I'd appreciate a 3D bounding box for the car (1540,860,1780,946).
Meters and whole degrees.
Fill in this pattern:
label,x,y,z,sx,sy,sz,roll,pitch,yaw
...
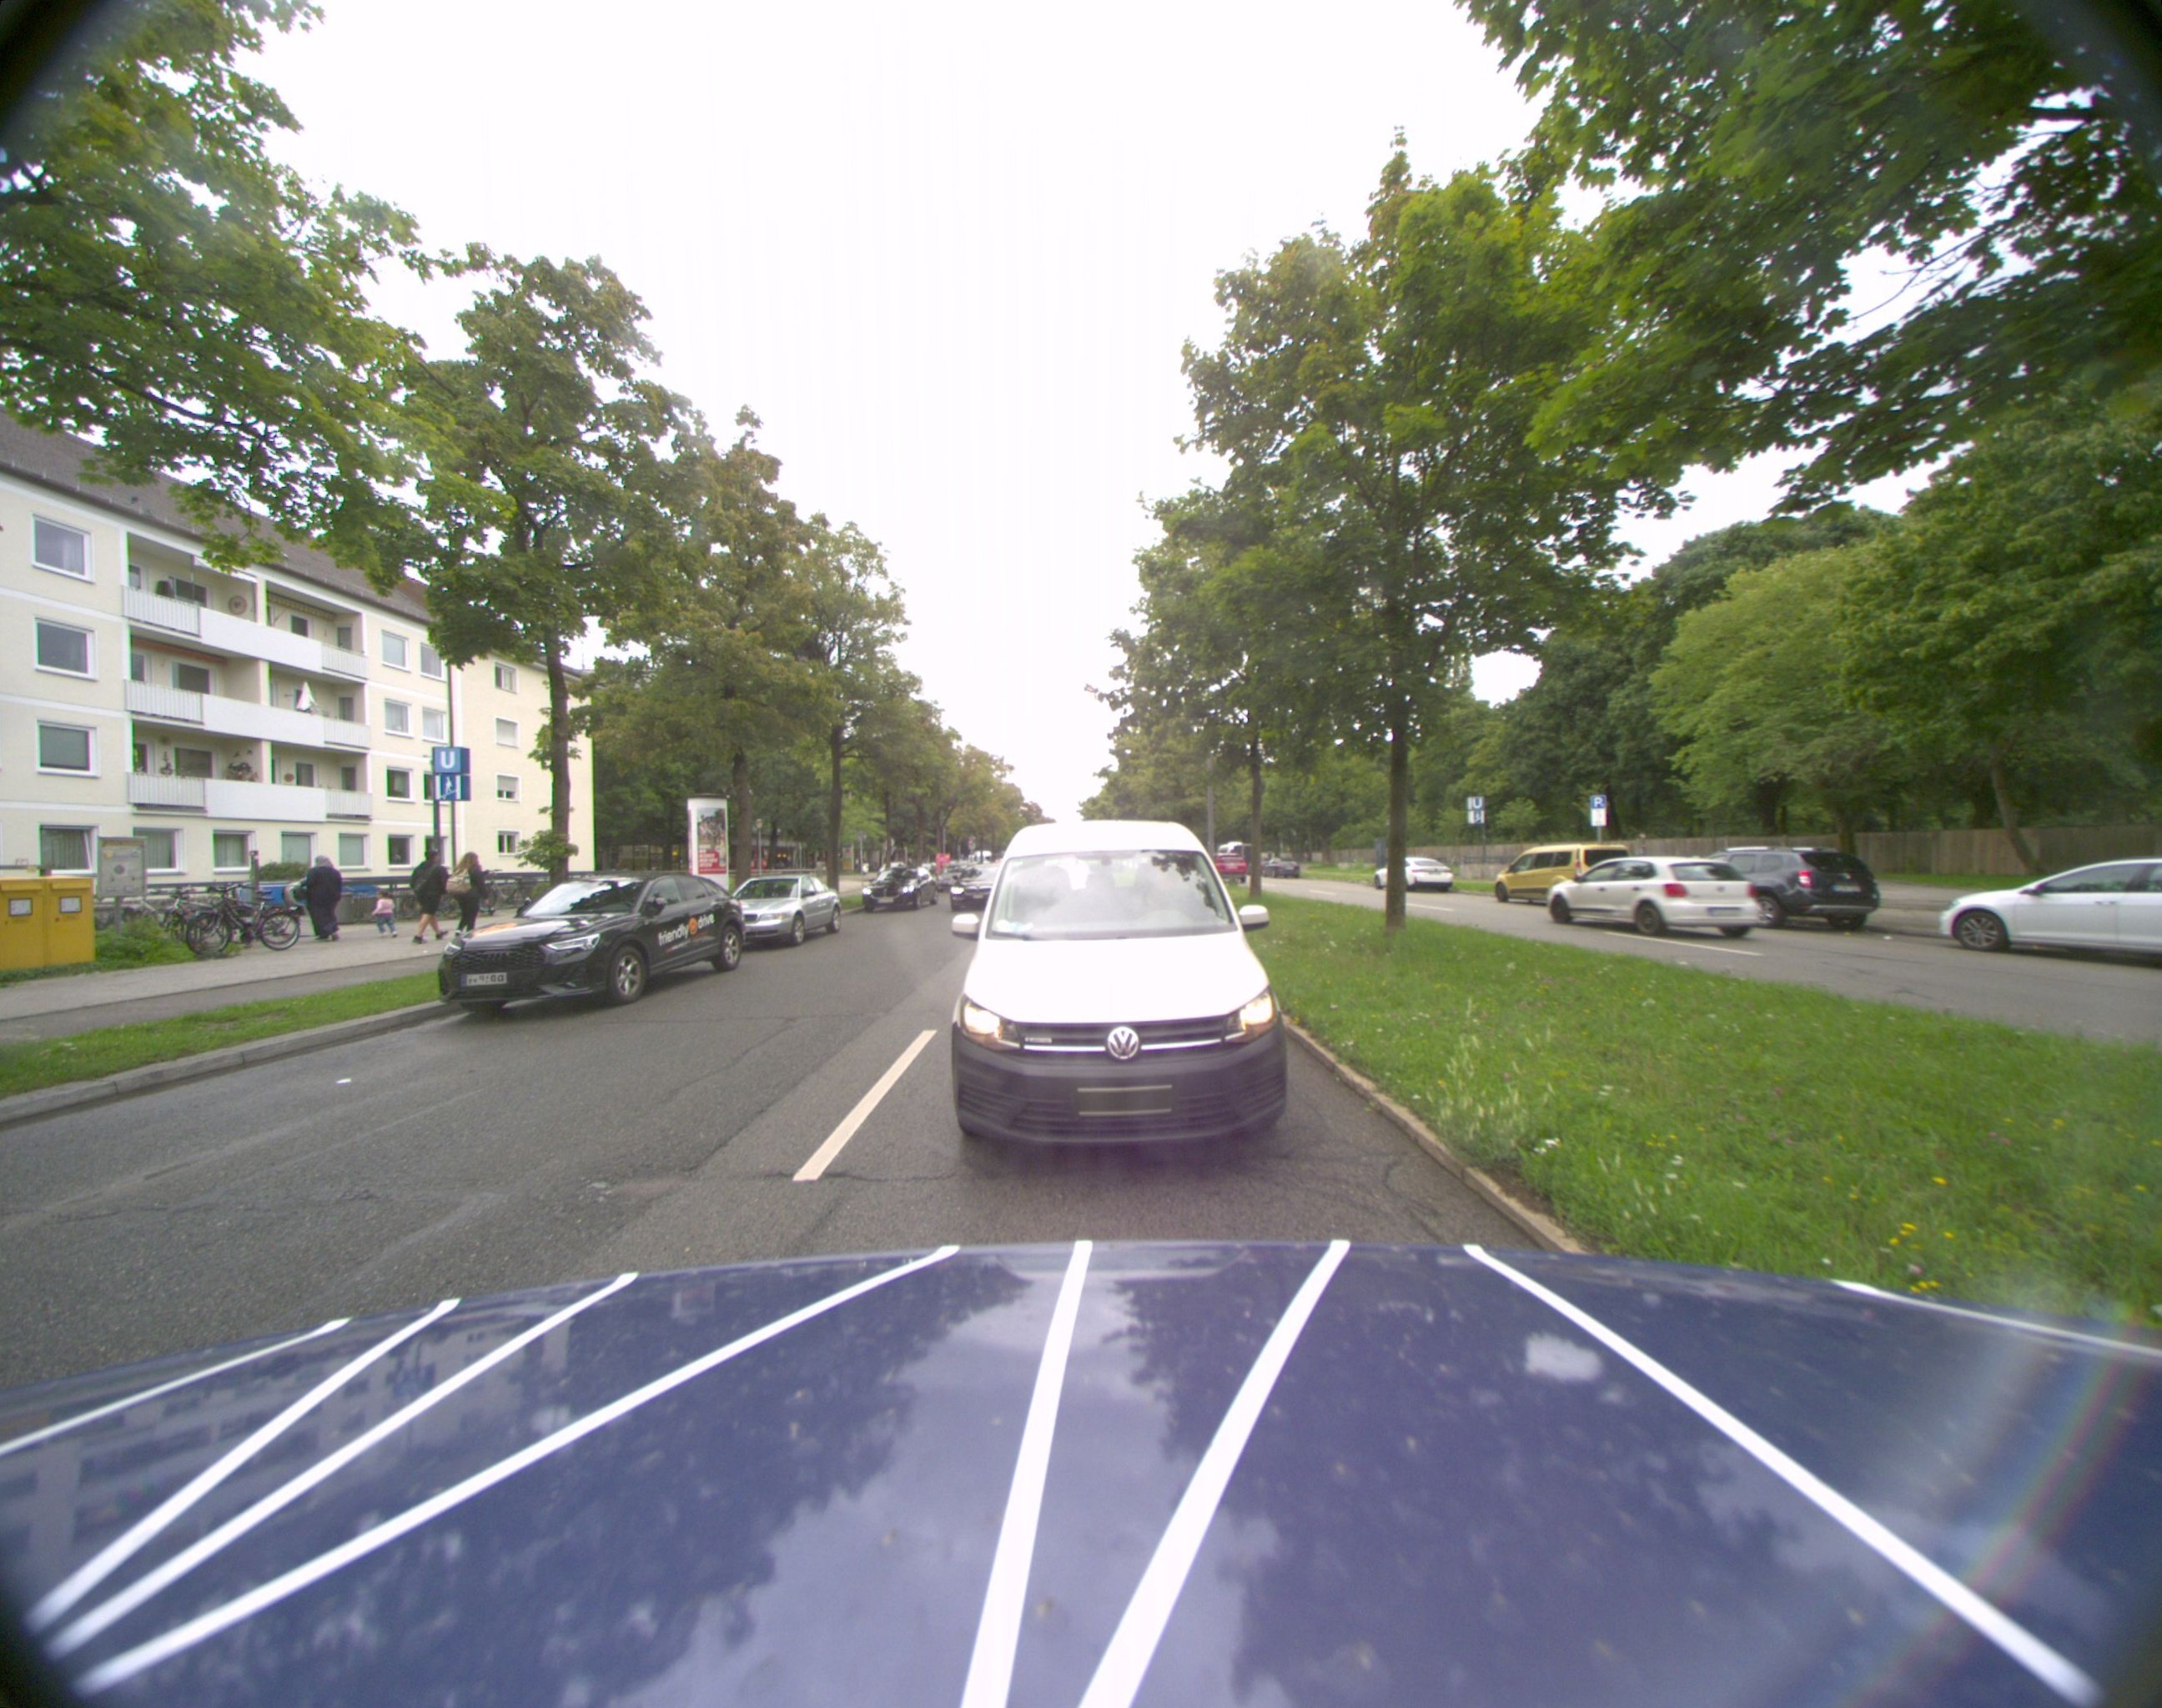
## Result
label,x,y,z,sx,sy,sz,roll,pitch,yaw
car,10.746,0.824,14.506,1.622,1.367,3.837,1,0,0

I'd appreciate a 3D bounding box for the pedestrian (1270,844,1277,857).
label,x,y,z,sx,sy,sz,roll,pitch,yaw
pedestrian,26.748,-0.475,105.699,0.770,1.757,0.873,0,1,-4

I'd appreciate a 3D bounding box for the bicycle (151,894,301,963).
label,x,y,z,sx,sy,sz,roll,pitch,yaw
bicycle,-14.743,1.252,13.181,0.432,1.022,1.883,0,0,1

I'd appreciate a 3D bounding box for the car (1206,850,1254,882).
label,x,y,z,sx,sy,sz,roll,pitch,yaw
car,8.290,0.633,42.680,1.908,1.686,4.245,1,0,1

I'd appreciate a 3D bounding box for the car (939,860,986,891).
label,x,y,z,sx,sy,sz,roll,pitch,yaw
car,-6.202,1.092,40.244,1.686,1.457,4.115,-3,0,1

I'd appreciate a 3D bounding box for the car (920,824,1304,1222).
label,x,y,z,sx,sy,sz,roll,pitch,yaw
car,0.112,0.776,5.828,1.750,1.807,4.667,-1,0,-1

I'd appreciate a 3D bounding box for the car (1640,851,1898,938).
label,x,y,z,sx,sy,sz,roll,pitch,yaw
car,14.667,0.775,16.589,1.741,1.636,4.255,0,0,-1

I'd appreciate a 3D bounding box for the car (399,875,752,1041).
label,x,y,z,sx,sy,sz,roll,pitch,yaw
car,-6.162,1.142,10.017,1.721,1.524,4.275,-3,0,0

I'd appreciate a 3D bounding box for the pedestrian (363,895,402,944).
label,x,y,z,sx,sy,sz,roll,pitch,yaw
pedestrian,-13.936,1.300,15.165,0.434,0.944,0.409,0,1,21

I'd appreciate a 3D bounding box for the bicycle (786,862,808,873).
label,x,y,z,sx,sy,sz,roll,pitch,yaw
bicycle,-29.026,1.355,77.583,2.080,1.114,0.455,-1,1,0

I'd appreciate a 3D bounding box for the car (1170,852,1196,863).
label,x,y,z,sx,sy,sz,roll,pitch,yaw
car,17.774,0.600,132.475,4.006,1.548,1.887,-3,0,-32

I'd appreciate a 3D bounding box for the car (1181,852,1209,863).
label,x,y,z,sx,sy,sz,roll,pitch,yaw
car,18.053,0.590,120.534,4.006,1.548,1.887,-3,0,-32

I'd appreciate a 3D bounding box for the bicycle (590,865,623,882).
label,x,y,z,sx,sy,sz,roll,pitch,yaw
bicycle,-28.971,1.191,46.413,1.696,0.965,0.455,-1,0,-4

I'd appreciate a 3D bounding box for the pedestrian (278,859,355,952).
label,x,y,z,sx,sy,sz,roll,pitch,yaw
pedestrian,-14.513,0.945,14.436,0.832,1.671,0.843,0,1,33

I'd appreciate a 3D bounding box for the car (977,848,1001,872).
label,x,y,z,sx,sy,sz,roll,pitch,yaw
car,-10.621,0.690,88.214,1.978,2.641,6.005,-3,0,0

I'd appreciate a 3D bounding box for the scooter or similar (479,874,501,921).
label,x,y,z,sx,sy,sz,roll,pitch,yaw
scooter or similar,-15.806,1.143,20.314,0.359,1.193,1.386,-1,1,-42

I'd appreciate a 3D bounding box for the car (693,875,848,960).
label,x,y,z,sx,sy,sz,roll,pitch,yaw
car,-6.313,1.215,15.992,1.640,1.378,4.243,-3,0,-3

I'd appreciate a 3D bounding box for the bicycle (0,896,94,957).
label,x,y,z,sx,sy,sz,roll,pitch,yaw
bicycle,-19.458,1.325,13.853,0.432,1.022,1.883,0,0,1

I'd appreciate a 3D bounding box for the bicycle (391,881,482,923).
label,x,y,z,sx,sy,sz,roll,pitch,yaw
bicycle,-16.556,1.227,19.542,1.882,1.022,0.432,0,1,-3

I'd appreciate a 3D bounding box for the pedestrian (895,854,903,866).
label,x,y,z,sx,sy,sz,roll,pitch,yaw
pedestrian,-27.733,0.899,115.757,0.872,1.689,0.771,0,2,14

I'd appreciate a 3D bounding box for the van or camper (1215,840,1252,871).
label,x,y,z,sx,sy,sz,roll,pitch,yaw
van or camper,14.545,0.100,72.866,2.040,2.821,7.546,0,0,0

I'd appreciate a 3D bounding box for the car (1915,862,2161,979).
label,x,y,z,sx,sy,sz,roll,pitch,yaw
car,14.570,0.863,10.184,1.767,1.441,4.532,0,0,-1

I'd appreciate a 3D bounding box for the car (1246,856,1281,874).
label,x,y,z,sx,sy,sz,roll,pitch,yaw
car,14.559,0.844,60.902,1.805,1.376,4.238,0,0,0

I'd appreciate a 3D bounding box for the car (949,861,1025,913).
label,x,y,z,sx,sy,sz,roll,pitch,yaw
car,-3.019,1.017,25.341,1.799,1.434,4.667,-3,0,1

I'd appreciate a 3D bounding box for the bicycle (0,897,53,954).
label,x,y,z,sx,sy,sz,roll,pitch,yaw
bicycle,-20.179,1.341,13.795,0.432,1.022,1.883,0,0,1

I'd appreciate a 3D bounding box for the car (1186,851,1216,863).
label,x,y,z,sx,sy,sz,roll,pitch,yaw
car,18.100,0.496,114.311,4.005,1.548,1.888,-3,0,-27

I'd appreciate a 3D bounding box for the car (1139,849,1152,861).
label,x,y,z,sx,sy,sz,roll,pitch,yaw
car,10.944,0.104,129.067,1.804,1.922,4.993,0,0,-1

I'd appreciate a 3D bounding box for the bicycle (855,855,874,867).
label,x,y,z,sx,sy,sz,roll,pitch,yaw
bicycle,-28.838,0.980,101.263,2.313,1.523,0.649,-1,1,0

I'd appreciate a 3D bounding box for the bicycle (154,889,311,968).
label,x,y,z,sx,sy,sz,roll,pitch,yaw
bicycle,-13.841,1.174,12.479,0.432,1.127,1.884,0,0,1

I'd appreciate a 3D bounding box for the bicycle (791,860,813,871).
label,x,y,z,sx,sy,sz,roll,pitch,yaw
bicycle,-29.313,1.222,79.833,2.080,1.114,0.455,-1,1,0

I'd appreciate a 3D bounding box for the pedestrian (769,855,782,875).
label,x,y,z,sx,sy,sz,roll,pitch,yaw
pedestrian,-24.475,0.854,60.839,0.779,1.565,0.581,-1,1,42

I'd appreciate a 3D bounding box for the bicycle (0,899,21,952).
label,x,y,z,sx,sy,sz,roll,pitch,yaw
bicycle,-21.106,1.388,14.015,0.432,1.022,1.883,0,0,1

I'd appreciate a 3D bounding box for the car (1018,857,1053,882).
label,x,y,z,sx,sy,sz,roll,pitch,yaw
car,-2.899,0.958,49.383,1.889,1.434,4.667,-3,0,1

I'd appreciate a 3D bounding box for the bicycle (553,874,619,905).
label,x,y,z,sx,sy,sz,roll,pitch,yaw
bicycle,-16.658,1.194,25.607,1.882,1.022,0.432,0,1,-3

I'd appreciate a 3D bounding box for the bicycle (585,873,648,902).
label,x,y,z,sx,sy,sz,roll,pitch,yaw
bicycle,-16.510,1.183,27.031,1.883,1.022,0.432,0,1,-8

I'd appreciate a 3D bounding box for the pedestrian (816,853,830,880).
label,x,y,z,sx,sy,sz,roll,pitch,yaw
pedestrian,-17.142,0.841,50.408,0.641,1.739,0.849,1,0,-2

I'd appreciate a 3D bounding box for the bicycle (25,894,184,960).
label,x,y,z,sx,sy,sz,roll,pitch,yaw
bicycle,-17.707,1.285,13.855,0.432,1.022,1.883,0,0,1

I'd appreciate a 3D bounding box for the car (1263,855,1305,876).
label,x,y,z,sx,sy,sz,roll,pitch,yaw
car,14.418,0.816,54.251,1.805,1.417,4.431,0,0,0

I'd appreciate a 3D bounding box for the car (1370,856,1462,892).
label,x,y,z,sx,sy,sz,roll,pitch,yaw
car,14.647,0.831,33.577,1.861,1.464,4.874,0,0,-1

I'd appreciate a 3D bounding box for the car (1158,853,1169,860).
label,x,y,z,sx,sy,sz,roll,pitch,yaw
car,16.637,0.475,153.520,1.889,1.435,4.169,-2,1,4

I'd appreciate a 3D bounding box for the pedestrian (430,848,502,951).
label,x,y,z,sx,sy,sz,roll,pitch,yaw
pedestrian,-11.616,0.827,14.380,0.589,1.879,0.902,-1,1,-1

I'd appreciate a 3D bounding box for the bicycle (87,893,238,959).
label,x,y,z,sx,sy,sz,roll,pitch,yaw
bicycle,-16.671,1.276,13.870,0.432,1.022,1.883,0,0,1

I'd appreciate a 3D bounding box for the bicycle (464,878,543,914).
label,x,y,z,sx,sy,sz,roll,pitch,yaw
bicycle,-16.678,1.207,21.954,1.882,1.022,0.432,0,1,-3

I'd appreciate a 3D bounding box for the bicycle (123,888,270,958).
label,x,y,z,sx,sy,sz,roll,pitch,yaw
bicycle,-15.942,1.213,13.771,0.432,1.095,1.883,0,0,1

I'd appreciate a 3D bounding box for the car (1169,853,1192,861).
label,x,y,z,sx,sy,sz,roll,pitch,yaw
car,17.744,0.542,135.732,4.006,1.358,1.588,-2,1,-30

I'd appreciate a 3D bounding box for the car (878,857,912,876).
label,x,y,z,sx,sy,sz,roll,pitch,yaw
car,-16.314,1.093,66.926,1.826,1.624,4.198,0,0,2

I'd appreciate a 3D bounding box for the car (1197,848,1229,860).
label,x,y,z,sx,sy,sz,roll,pitch,yaw
car,18.828,-0.001,108.272,4.005,1.455,1.888,-3,0,-27

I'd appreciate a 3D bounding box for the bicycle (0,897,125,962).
label,x,y,z,sx,sy,sz,roll,pitch,yaw
bicycle,-18.963,1.359,13.937,0.432,1.022,1.883,0,0,1

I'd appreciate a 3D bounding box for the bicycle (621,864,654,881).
label,x,y,z,sx,sy,sz,roll,pitch,yaw
bicycle,-27.188,1.133,46.554,1.696,0.965,0.455,-1,0,-4

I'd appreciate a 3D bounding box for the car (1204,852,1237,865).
label,x,y,z,sx,sy,sz,roll,pitch,yaw
car,18.219,0.529,98.982,4.006,1.477,1.797,-3,0,-34

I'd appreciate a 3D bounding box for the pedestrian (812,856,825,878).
label,x,y,z,sx,sy,sz,roll,pitch,yaw
pedestrian,-20.691,1.036,59.864,0.600,1.720,0.642,-2,1,20

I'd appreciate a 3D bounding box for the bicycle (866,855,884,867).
label,x,y,z,sx,sy,sz,roll,pitch,yaw
bicycle,-29.289,0.995,108.058,2.316,1.613,0.648,-1,1,-17

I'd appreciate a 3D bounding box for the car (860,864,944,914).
label,x,y,z,sx,sy,sz,roll,pitch,yaw
car,-6.068,1.144,26.242,1.755,1.457,4.176,-3,0,1

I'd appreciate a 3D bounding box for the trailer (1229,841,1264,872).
label,x,y,z,sx,sy,sz,roll,pitch,yaw
trailer,14.509,0.222,66.756,2.022,2.575,4.658,0,0,0

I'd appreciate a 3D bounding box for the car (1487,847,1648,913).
label,x,y,z,sx,sy,sz,roll,pitch,yaw
car,14.376,0.692,22.850,1.819,1.772,4.817,0,0,1

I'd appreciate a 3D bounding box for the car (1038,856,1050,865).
label,x,y,z,sx,sy,sz,roll,pitch,yaw
car,-6.064,1.042,123.652,1.735,1.498,4.441,-3,0,-1

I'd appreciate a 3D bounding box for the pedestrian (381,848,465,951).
label,x,y,z,sx,sy,sz,roll,pitch,yaw
pedestrian,-12.381,0.824,14.327,0.731,1.879,0.919,0,1,-1
